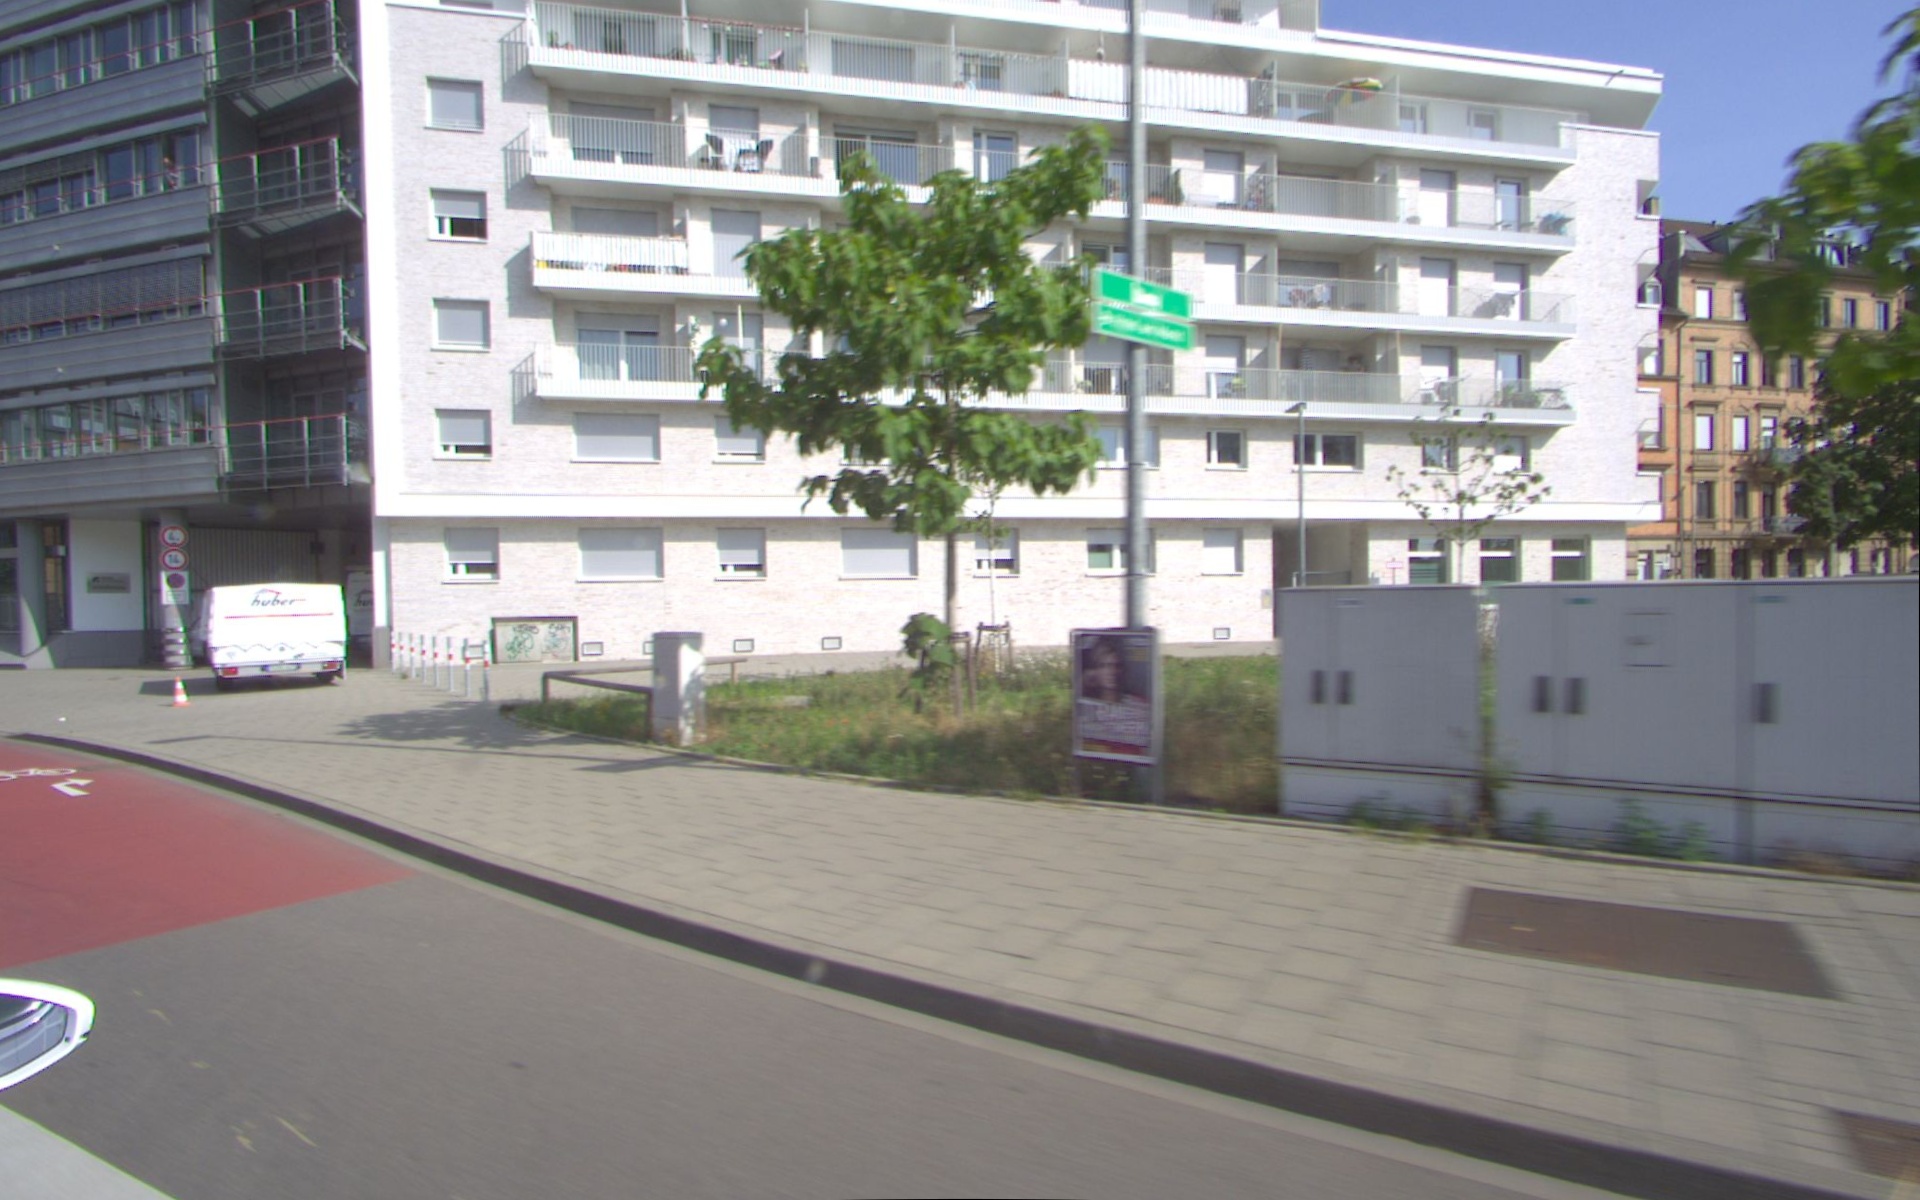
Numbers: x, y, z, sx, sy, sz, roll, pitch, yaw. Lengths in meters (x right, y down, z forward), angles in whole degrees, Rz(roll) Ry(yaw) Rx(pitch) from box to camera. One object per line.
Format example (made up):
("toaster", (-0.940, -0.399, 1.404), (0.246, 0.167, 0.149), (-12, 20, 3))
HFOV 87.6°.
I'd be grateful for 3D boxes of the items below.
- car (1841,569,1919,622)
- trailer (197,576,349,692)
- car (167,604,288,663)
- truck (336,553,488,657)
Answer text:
("car", (40.287, -0.183, 41.855), (1.859, 2.207, 5.004), (-1, 0, -40))
("trailer", (-15.052, 0.654, 21.751), (2.368, 2.180, 5.903), (-1, 0, -38))
("car", (-21.832, 0.930, 29.812), (3.946, 1.611, 1.738), (0, 1, 35))
("truck", (-18.360, 0.013, 34.026), (1.961, 3.141, 6.145), (-2, 3, -4))
